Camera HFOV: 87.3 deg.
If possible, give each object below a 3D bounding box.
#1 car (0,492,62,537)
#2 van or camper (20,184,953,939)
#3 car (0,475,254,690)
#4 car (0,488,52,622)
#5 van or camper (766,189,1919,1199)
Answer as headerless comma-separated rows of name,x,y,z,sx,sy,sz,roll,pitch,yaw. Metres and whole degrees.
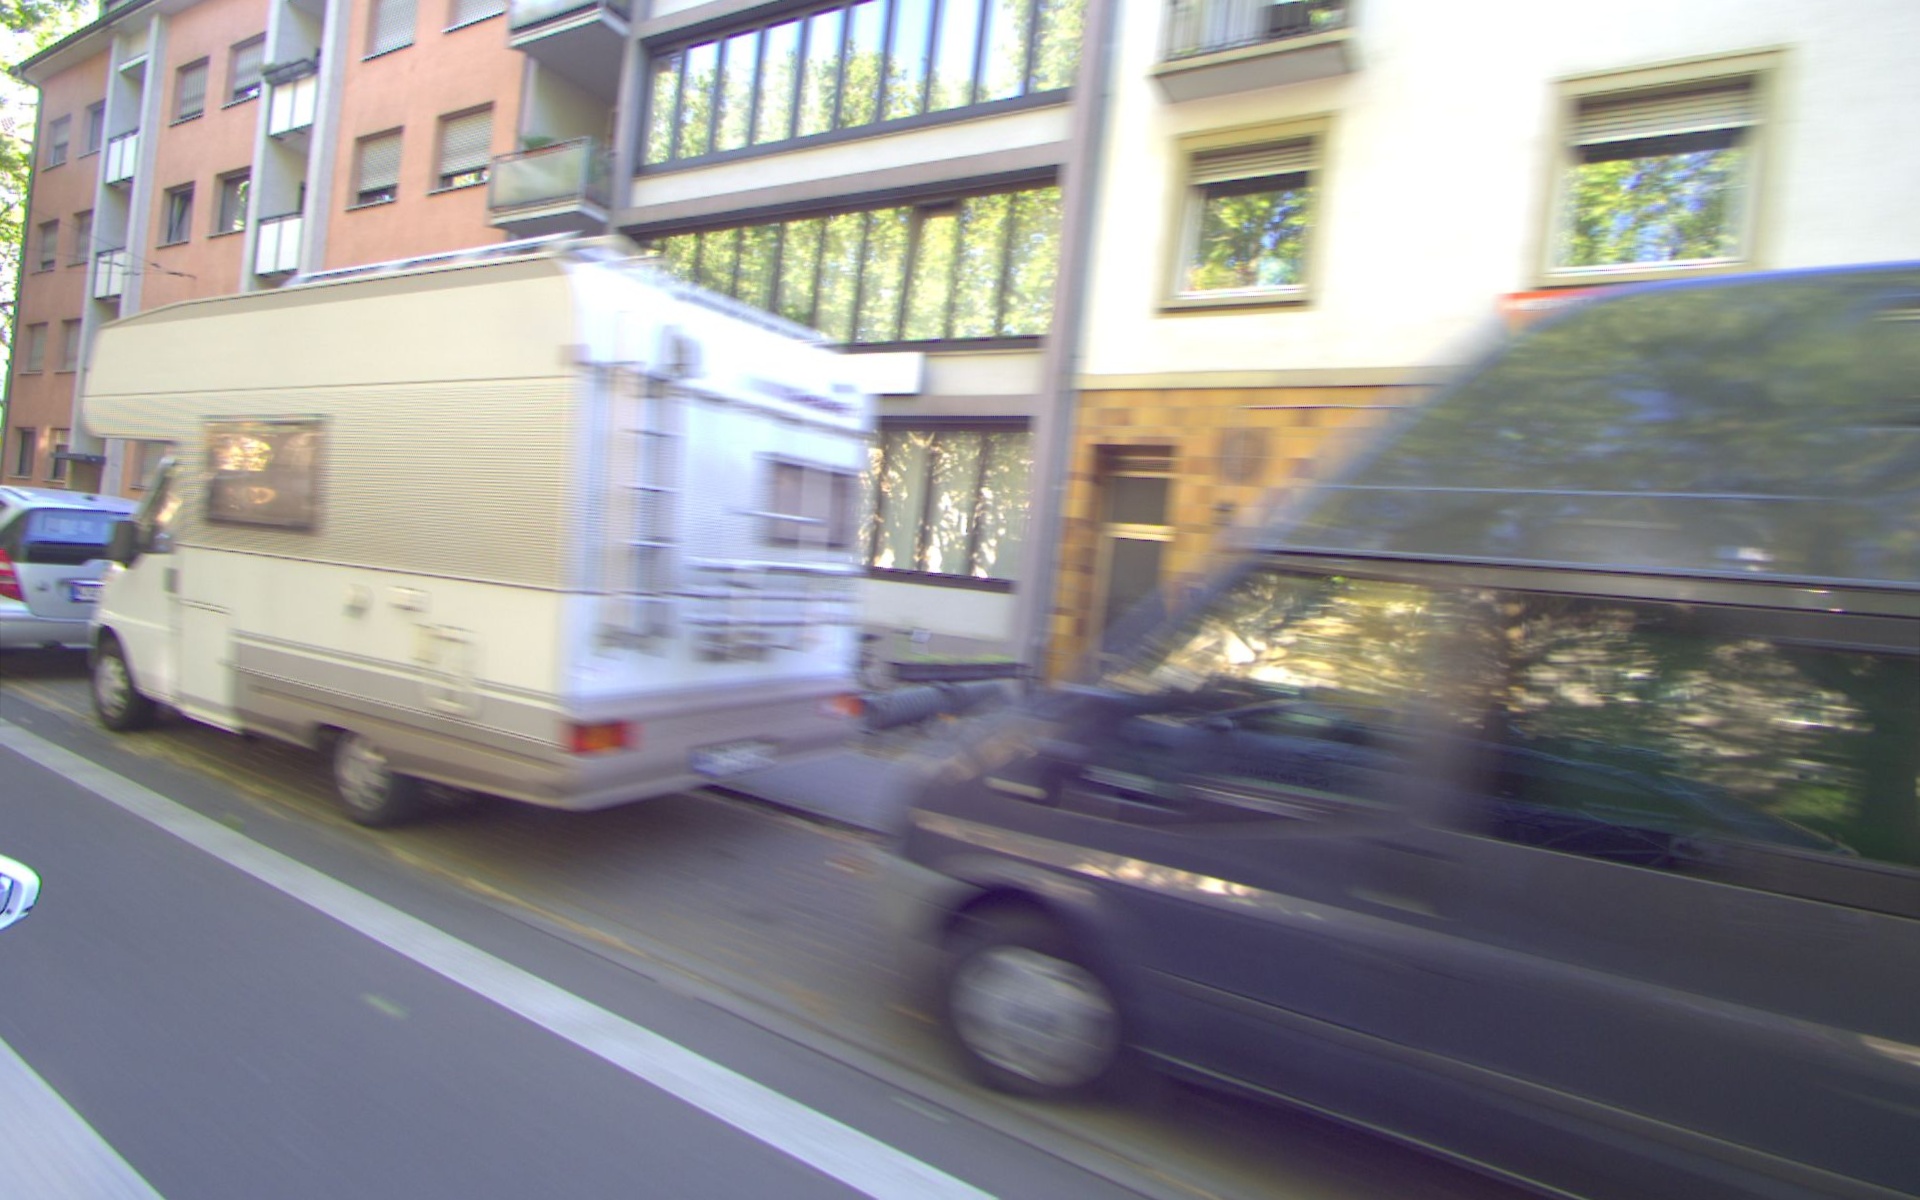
car,-38.884,-3.608,40.342,1.535,1.500,3.920,10,1,30
van or camper,-3.443,-0.393,6.755,6.162,3.104,2.463,7,2,31
car,-8.713,-0.302,9.480,4.205,1.649,1.794,7,2,32
car,-13.224,-0.750,12.444,4.250,1.542,1.789,7,2,32
van or camper,2.015,0.459,3.383,4.897,2.698,2.133,7,2,32
